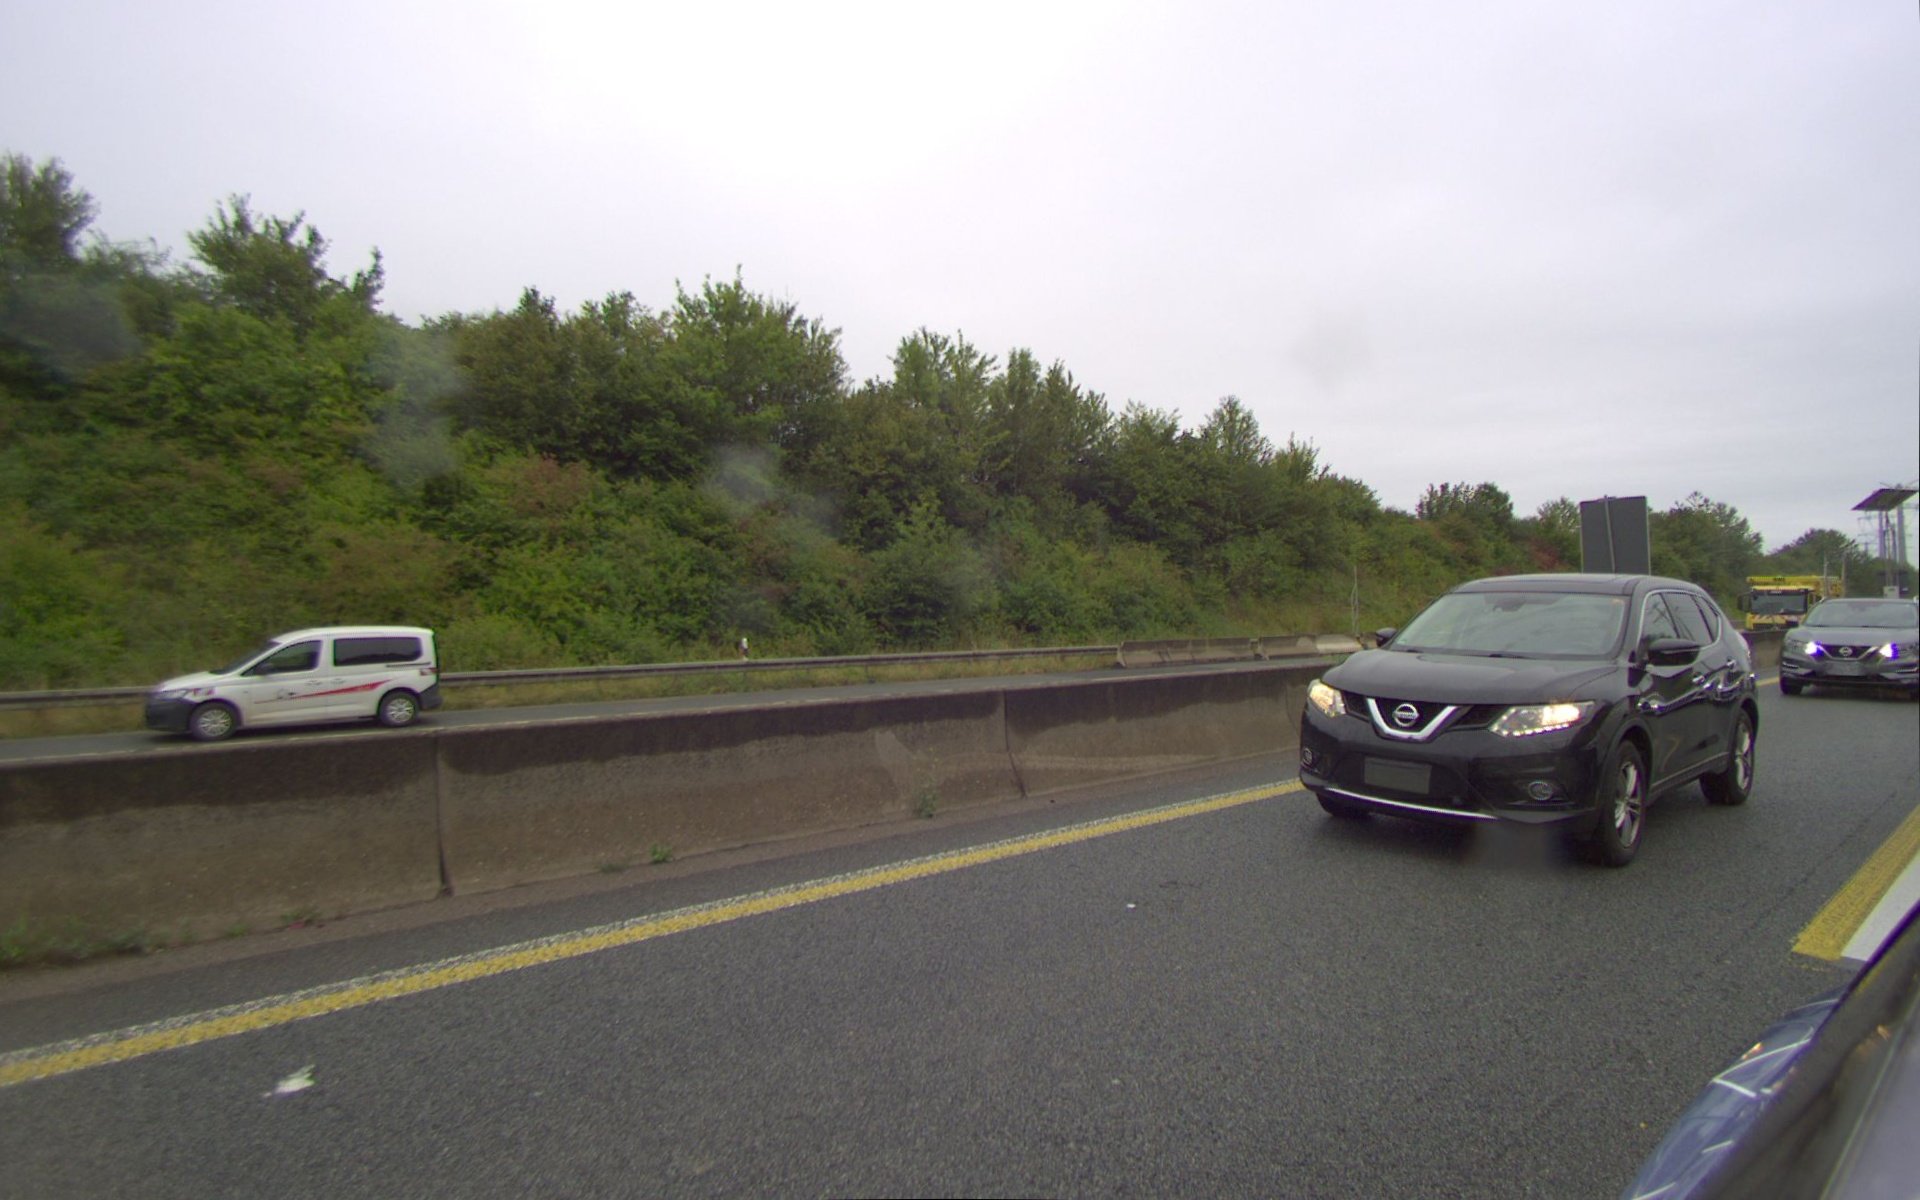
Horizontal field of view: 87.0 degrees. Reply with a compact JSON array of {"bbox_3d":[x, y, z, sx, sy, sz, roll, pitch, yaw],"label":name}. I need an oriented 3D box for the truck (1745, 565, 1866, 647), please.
[{"bbox_3d":[39.310,0.201,46.912,9.404,3.467,2.618,-1,1,-39],"label":"truck"}]

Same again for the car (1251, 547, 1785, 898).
[{"bbox_3d":[4.137,0.563,7.123,4.561,1.696,1.892,-1,1,-42],"label":"car"}]

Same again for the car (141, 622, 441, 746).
[{"bbox_3d":[-11.730,1.362,17.923,4.255,1.792,1.731,-1,1,-42],"label":"car"}]

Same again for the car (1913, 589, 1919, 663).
[{"bbox_3d":[23.099,0.558,22.971,4.053,1.618,1.782,-1,1,-42],"label":"car"}]

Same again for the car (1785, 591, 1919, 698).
[{"bbox_3d":[14.847,0.619,16.305,4.053,1.509,1.782,-1,1,-42],"label":"car"}]
